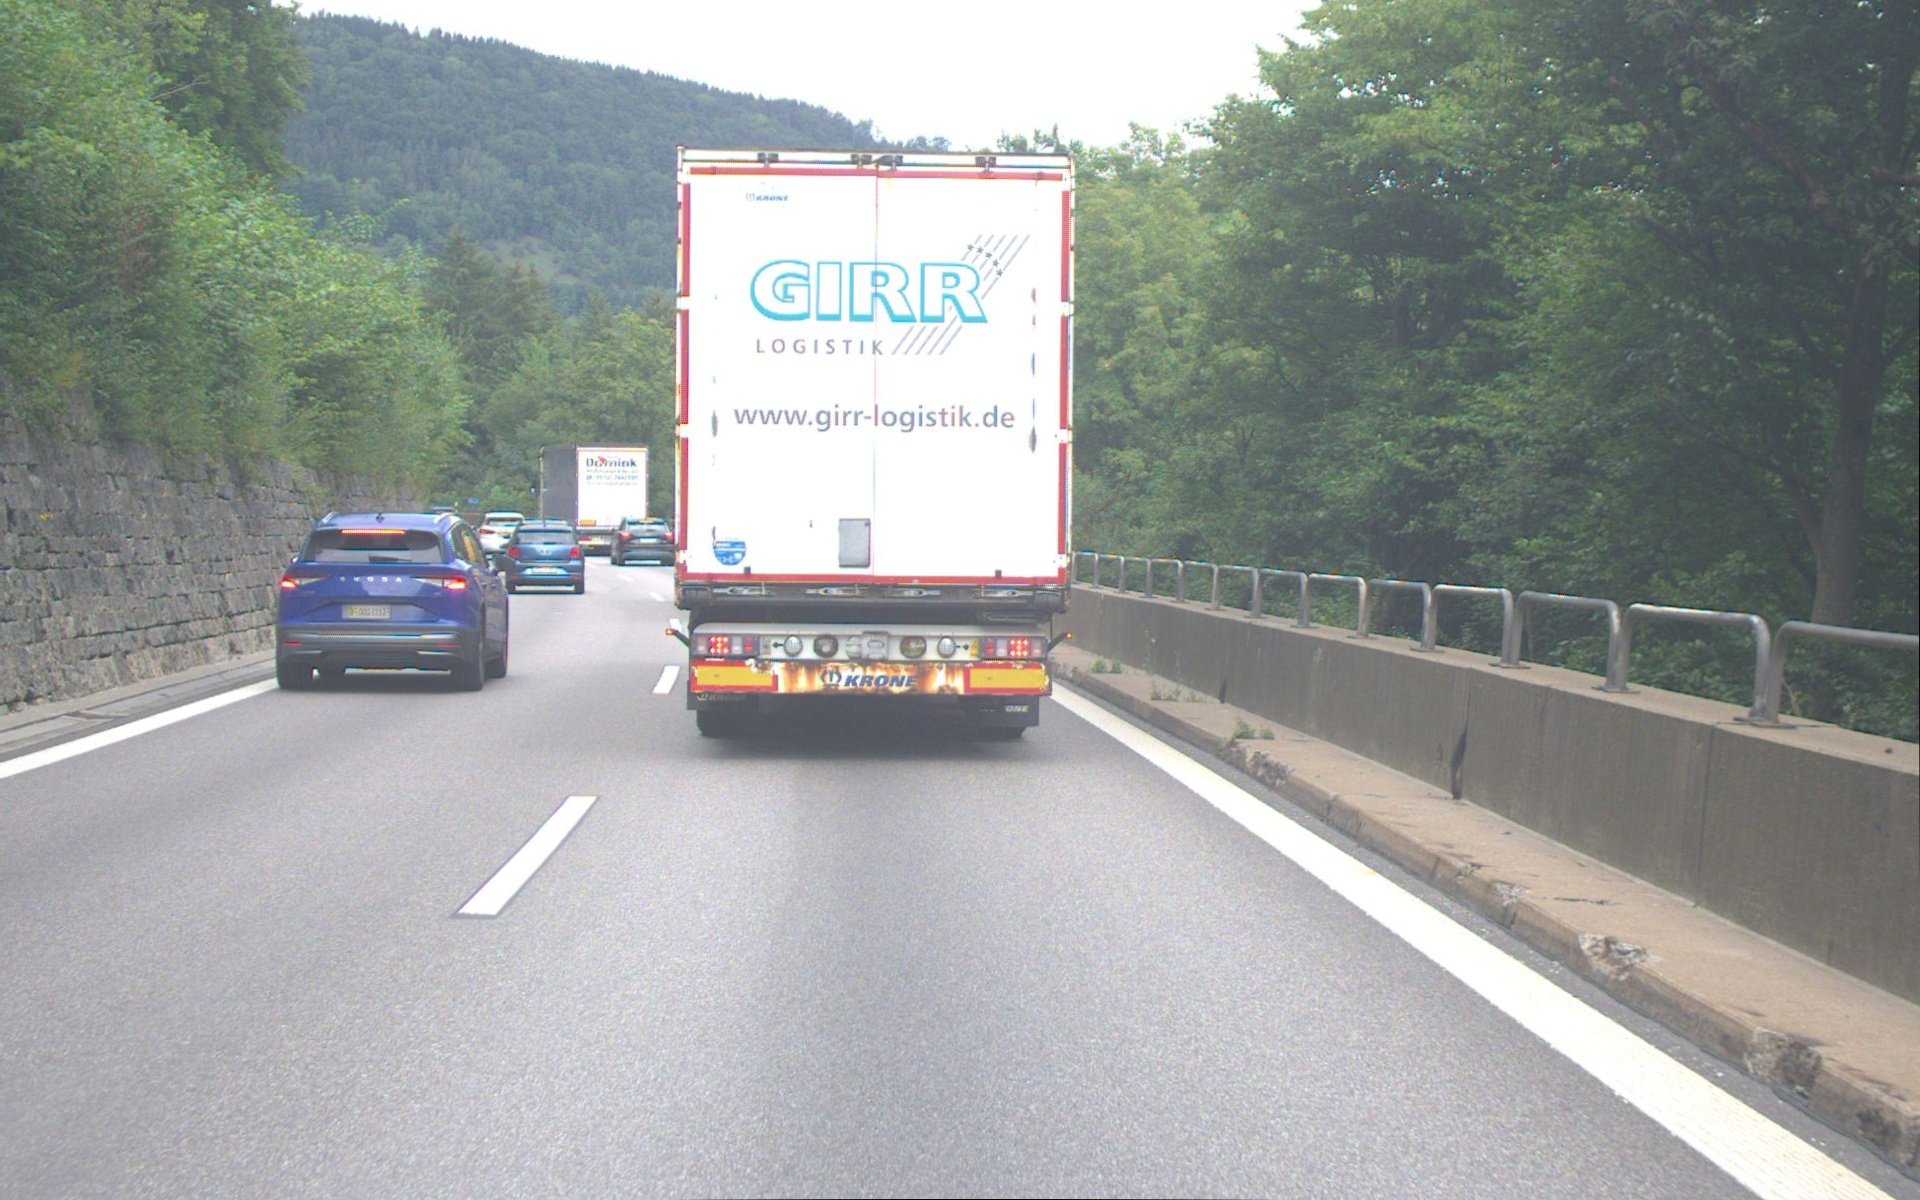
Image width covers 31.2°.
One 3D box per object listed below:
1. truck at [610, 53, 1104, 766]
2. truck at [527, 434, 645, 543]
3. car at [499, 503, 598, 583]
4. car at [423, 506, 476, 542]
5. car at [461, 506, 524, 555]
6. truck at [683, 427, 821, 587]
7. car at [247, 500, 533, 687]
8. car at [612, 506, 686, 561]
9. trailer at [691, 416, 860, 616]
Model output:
[{"bbox_3d":[-0.933,-1.379,29.088,3.084,4.448,15.158,0,1,-2],"label":"truck"},{"bbox_3d":[-13.918,-4.075,126.997,2.633,3.844,12.363,0,2,-14],"label":"truck"},{"bbox_3d":[-8.673,-1.223,72.570,1.993,1.590,4.355,1,1,-7],"label":"car"},{"bbox_3d":[-23.048,-3.429,155.187,1.896,1.545,4.251,1,2,-15],"label":"car"},{"bbox_3d":[-15.655,-2.324,114.925,1.896,1.545,4.251,1,1,-10],"label":"car"},{"bbox_3d":[-3.950,-1.725,64.511,2.208,2.841,5.005,1,1,-7],"label":"truck"},{"bbox_3d":[-5.279,-0.087,32.477,1.993,1.626,5.009,0,1,-1],"label":"car"},{"bbox_3d":[-9.590,-2.061,105.739,2.060,1.648,4.001,0,1,-8],"label":"car"},{"bbox_3d":[-3.272,-1.419,58.486,2.211,3.037,11.142,1,1,-6],"label":"trailer"}]
